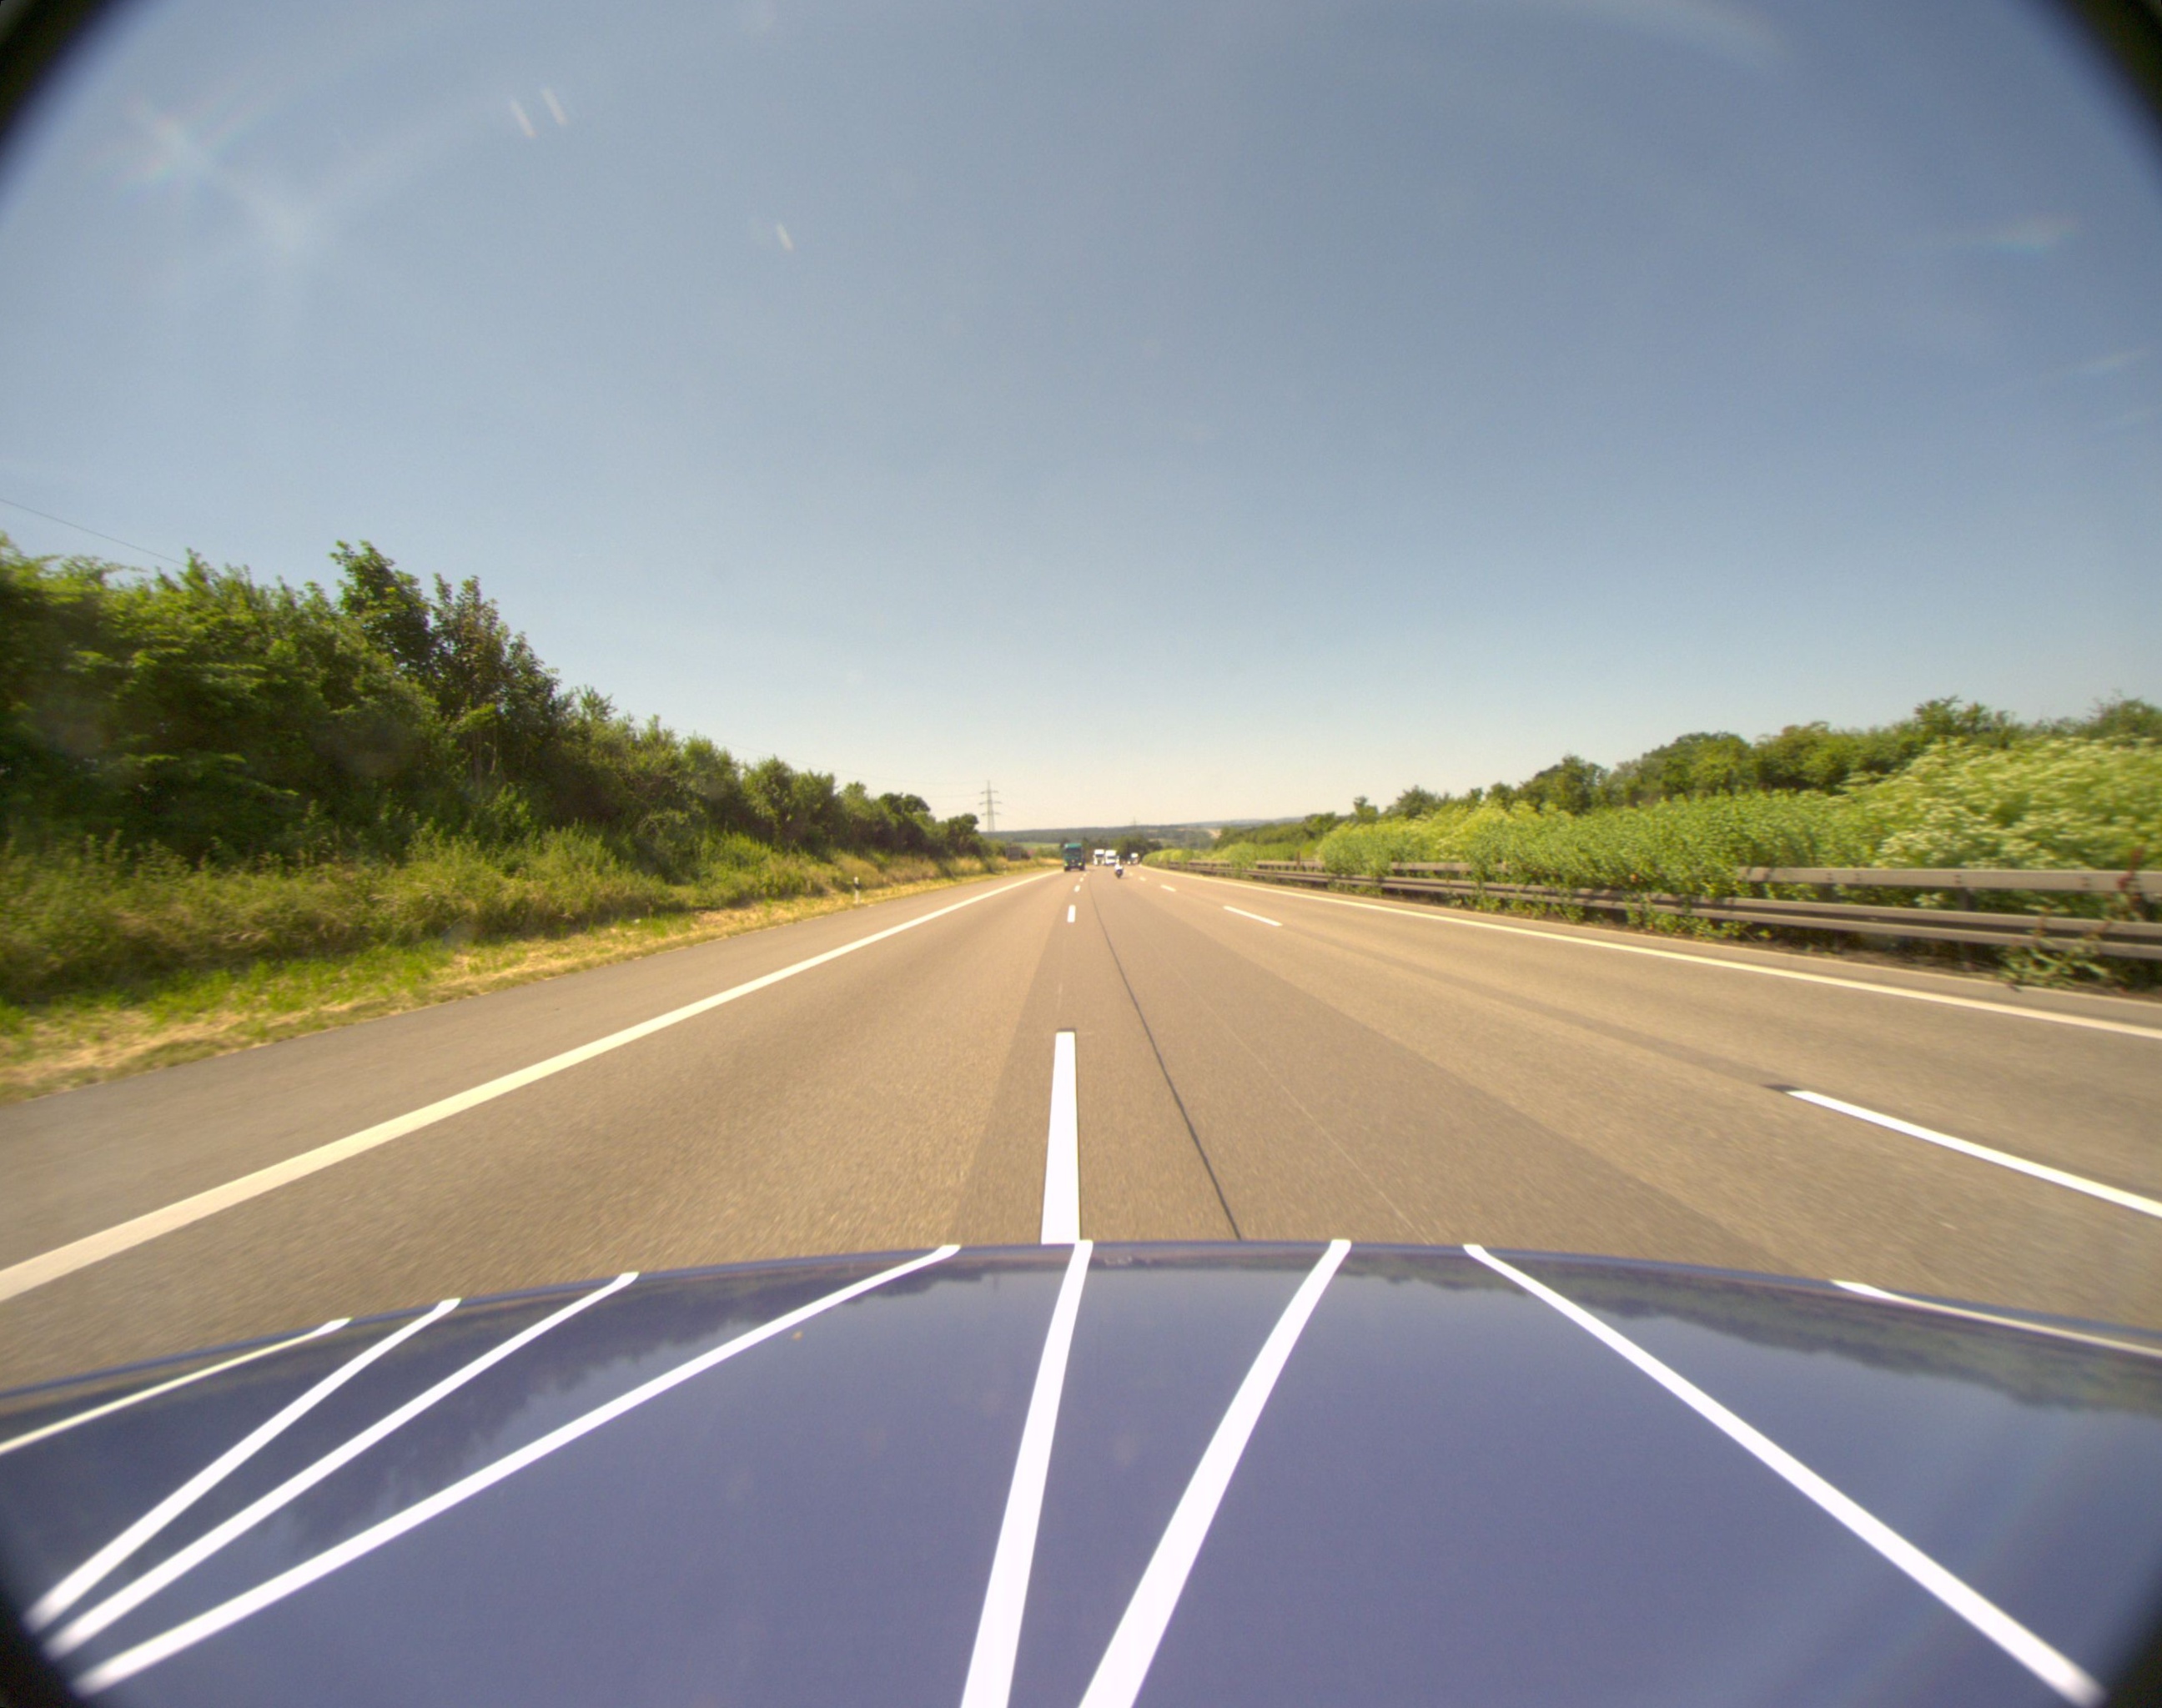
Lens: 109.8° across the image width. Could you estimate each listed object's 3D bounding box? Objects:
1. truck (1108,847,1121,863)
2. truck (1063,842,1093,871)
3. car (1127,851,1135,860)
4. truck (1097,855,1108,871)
[{"bbox_3d":[7.109,0.275,161.314,2.512,3.268,8.108,-1,0,2],"label":"truck"},{"bbox_3d":[-0.261,0.382,104.953,2.871,3.702,12.768,-1,0,6],"label":"truck"},{"bbox_3d":[11.547,0.328,174.480,1.704,1.958,4.000,-1,0,2],"label":"car"},{"bbox_3d":[5.705,2.292,202.817,2.567,4.129,6.249,-1,0,1],"label":"truck"}]
